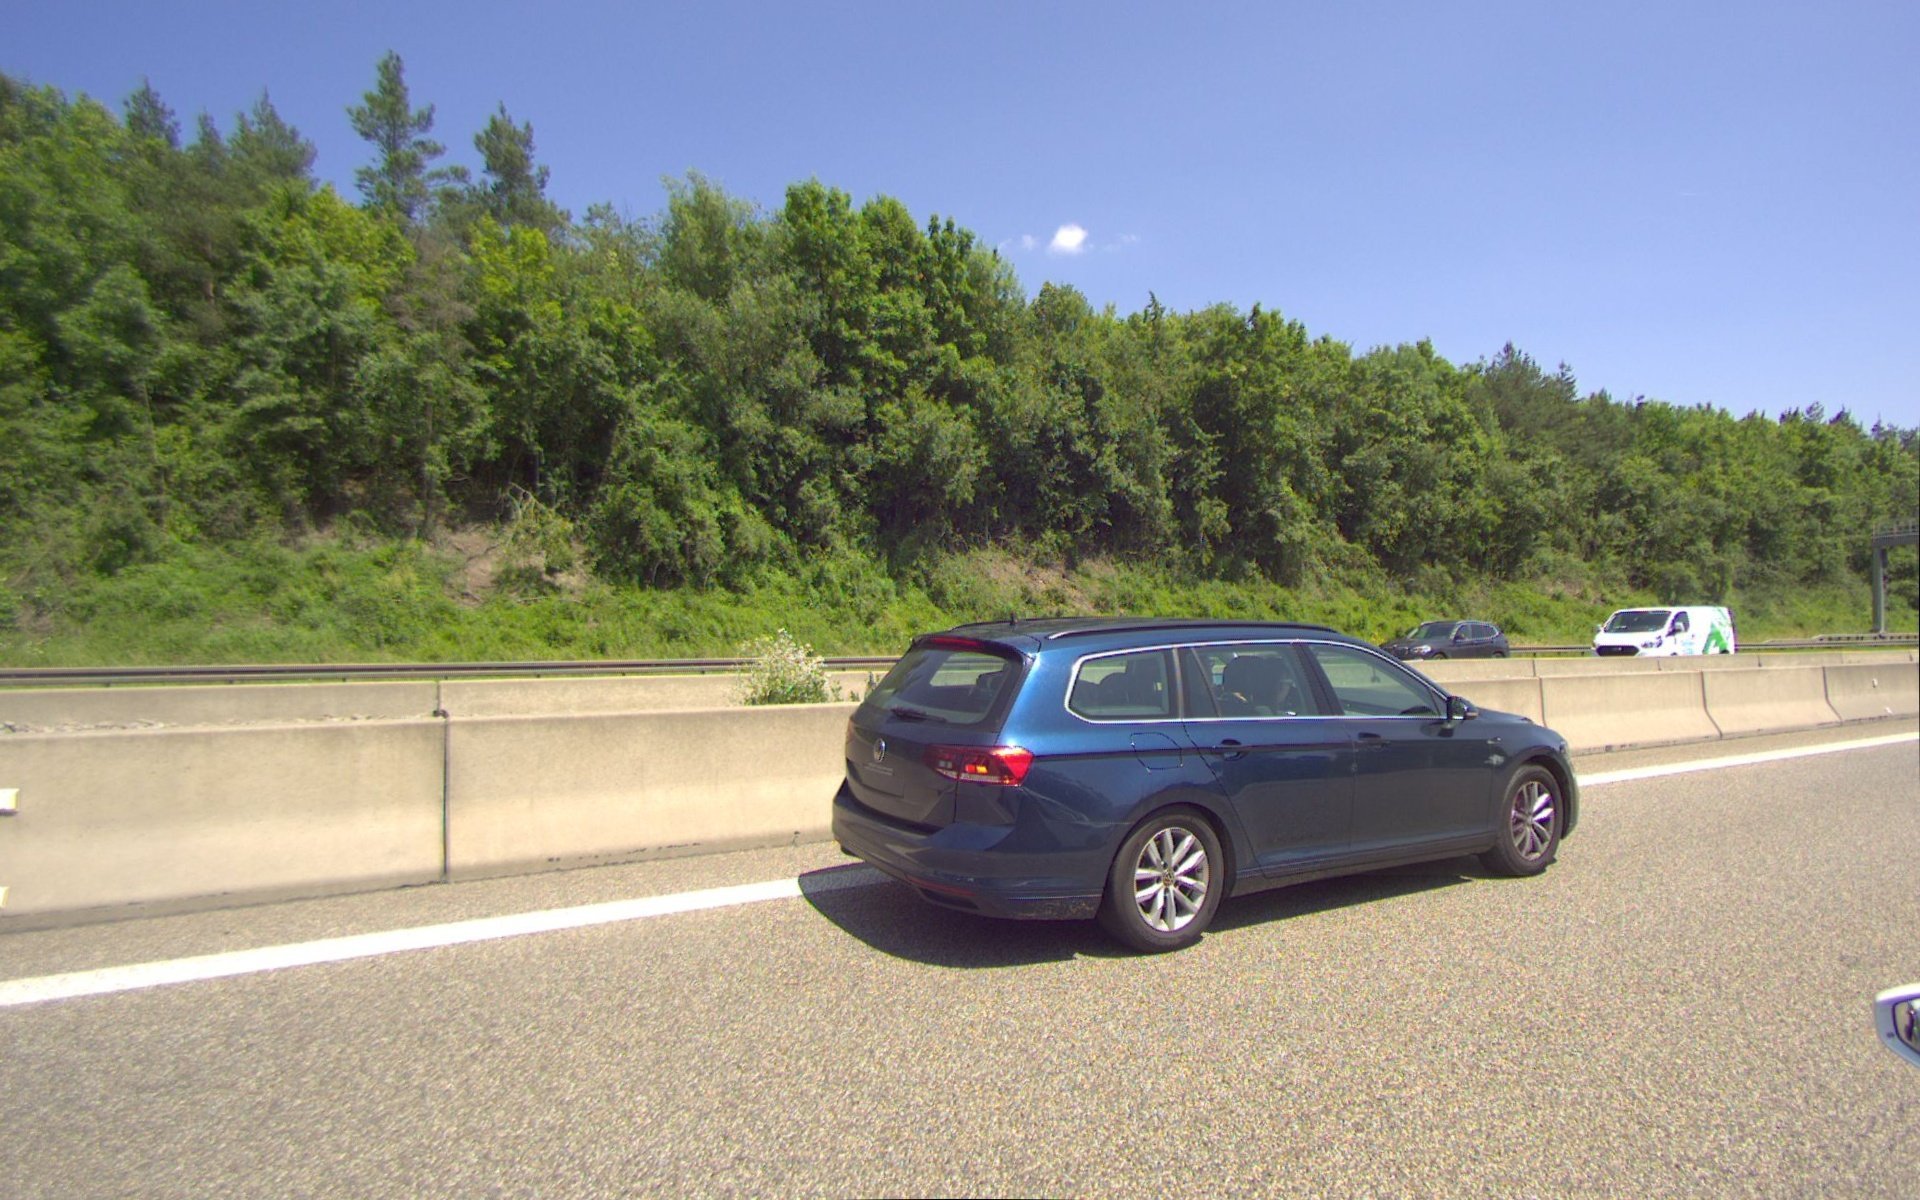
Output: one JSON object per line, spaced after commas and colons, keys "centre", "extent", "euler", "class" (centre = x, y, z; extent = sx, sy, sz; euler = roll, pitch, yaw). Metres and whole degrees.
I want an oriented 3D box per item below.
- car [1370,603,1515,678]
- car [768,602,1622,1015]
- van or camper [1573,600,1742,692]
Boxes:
{"centre": [14.477, 1.189, 30.057], "extent": [4.437, 2.040, 2.098], "euler": [2, 0, -37], "class": "car"}
{"centre": [1.462, 0.810, 5.605], "extent": [4.623, 1.469, 1.865], "euler": [2, 0, -30], "class": "car"}
{"centre": [19.868, 1.358, 28.594], "extent": [4.751, 2.415, 1.986], "euler": [2, -6, -30], "class": "van or camper"}
